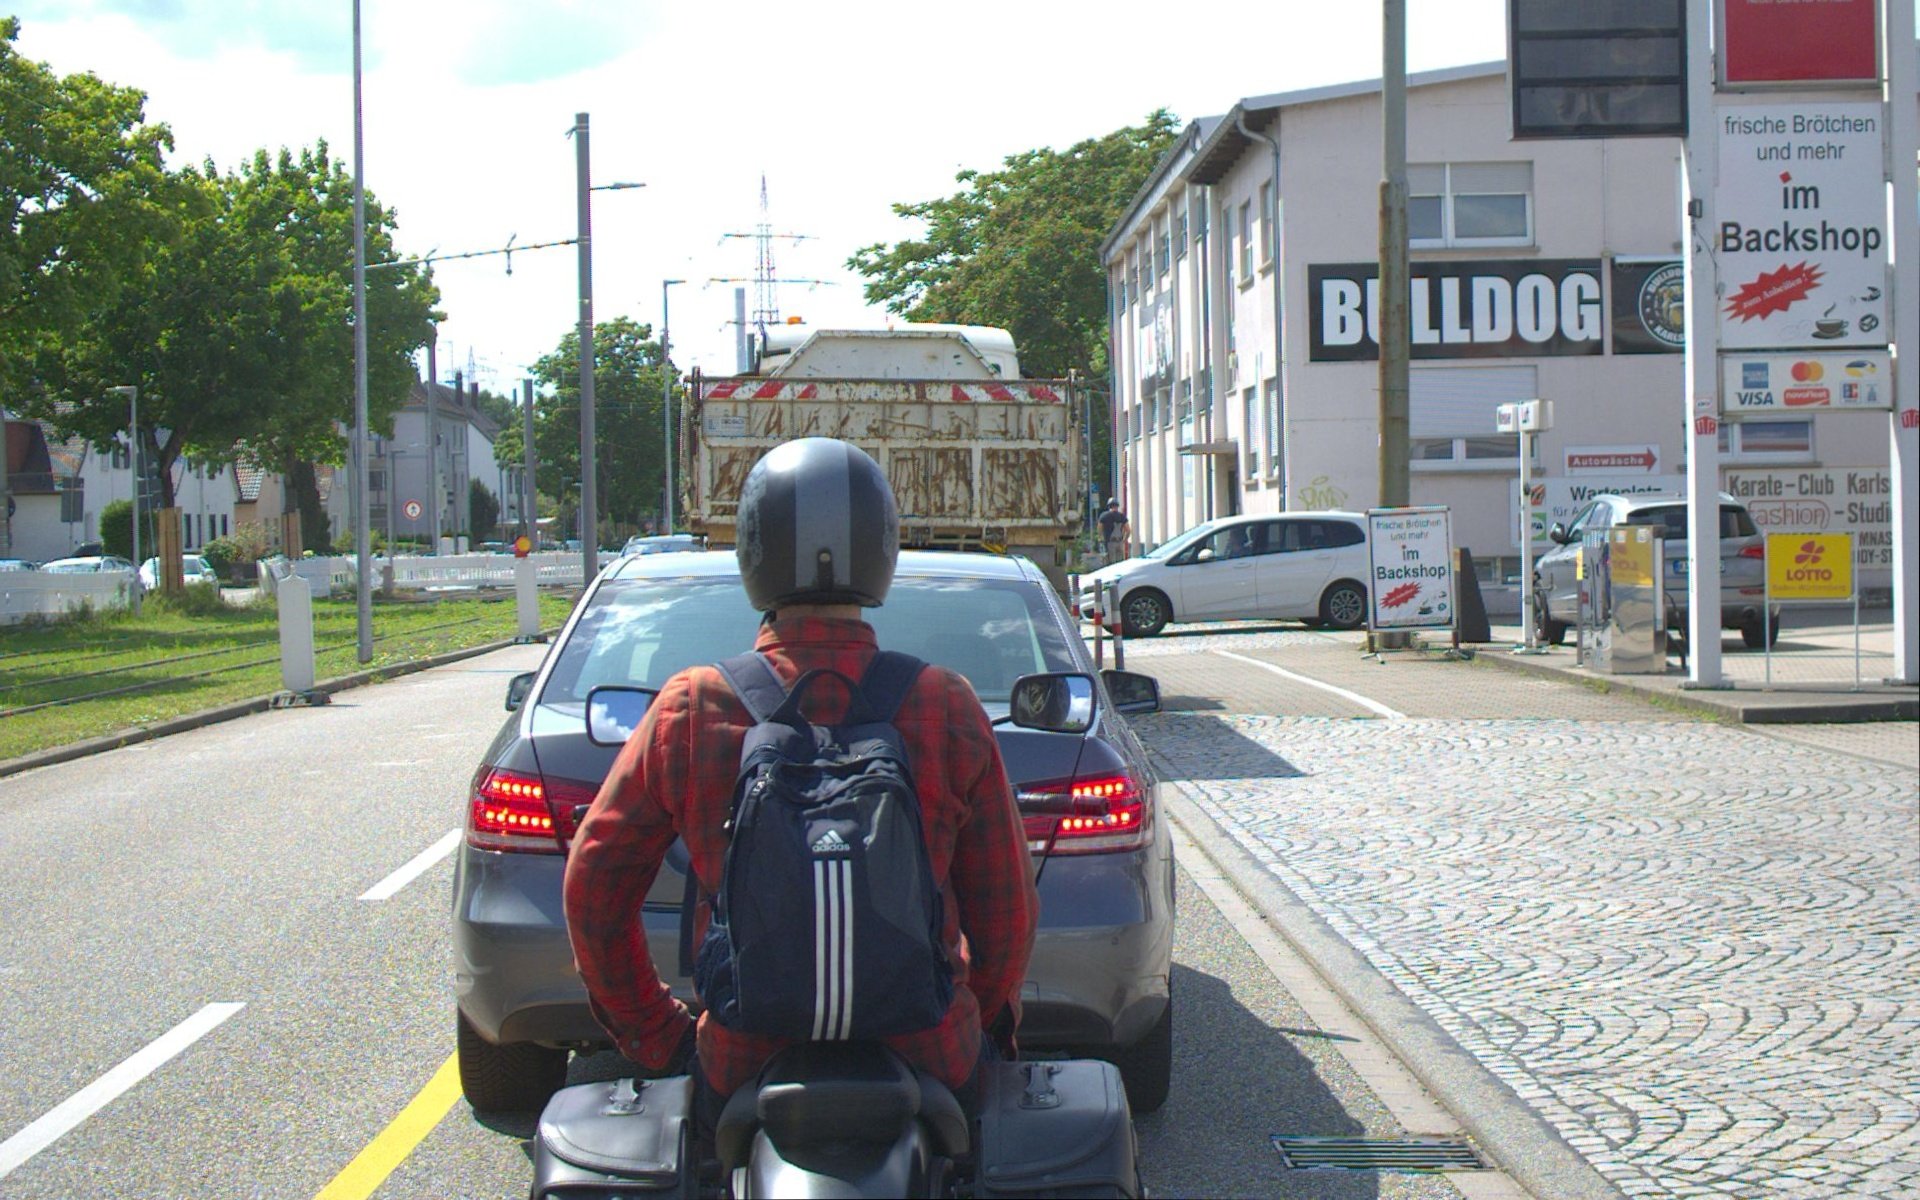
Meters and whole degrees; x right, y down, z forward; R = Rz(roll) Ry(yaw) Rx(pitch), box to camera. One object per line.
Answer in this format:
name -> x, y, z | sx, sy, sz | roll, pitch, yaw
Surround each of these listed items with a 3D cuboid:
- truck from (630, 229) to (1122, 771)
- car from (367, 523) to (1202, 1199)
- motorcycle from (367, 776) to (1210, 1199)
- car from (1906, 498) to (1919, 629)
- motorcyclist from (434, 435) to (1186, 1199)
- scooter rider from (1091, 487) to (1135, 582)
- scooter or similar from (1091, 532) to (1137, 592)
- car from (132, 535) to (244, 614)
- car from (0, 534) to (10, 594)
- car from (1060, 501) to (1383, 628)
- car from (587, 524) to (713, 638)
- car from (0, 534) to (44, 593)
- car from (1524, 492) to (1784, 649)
truck -> -0.635, -0.714, 25.477 | 2.970, 3.293, 8.408 | -1, 1, -2
car -> -0.447, 0.542, 9.711 | 1.832, 1.474, 4.010 | -1, 1, -2
motorcycle -> -0.217, 0.865, 5.216 | 0.976, 1.010, 2.432 | 1, 1, -1
car -> 11.788, -0.401, 37.251 | 1.832, 1.474, 4.010 | -1, 1, -2
motorcyclist -> -0.206, 0.590, 5.093 | 0.969, 1.627, 1.215 | 1, 1, -1
scooter rider -> 2.958, -1.261, 66.425 | 0.795, 1.812, 0.508 | -1, 1, -1
scooter or similar -> 2.968, -0.740, 66.423 | 0.795, 1.141, 1.519 | -1, 1, -1
car -> -17.887, -0.622, 79.803 | 1.698, 1.733, 3.860 | -1, 1, 0
car -> -28.670, -1.001, 98.586 | 1.698, 1.733, 4.062 | -1, 1, 0
car -> 3.550, -0.501, 47.039 | 4.104, 1.619, 1.686 | -1, 1, -8
car -> -4.636, -0.324, 51.854 | 1.680, 1.619, 4.119 | -1, 1, -3
car -> -29.265, -1.112, 104.597 | 1.698, 1.733, 4.062 | -1, 1, 0
car -> 7.324, -0.341, 36.653 | 1.832, 1.530, 4.010 | -1, 1, -2
